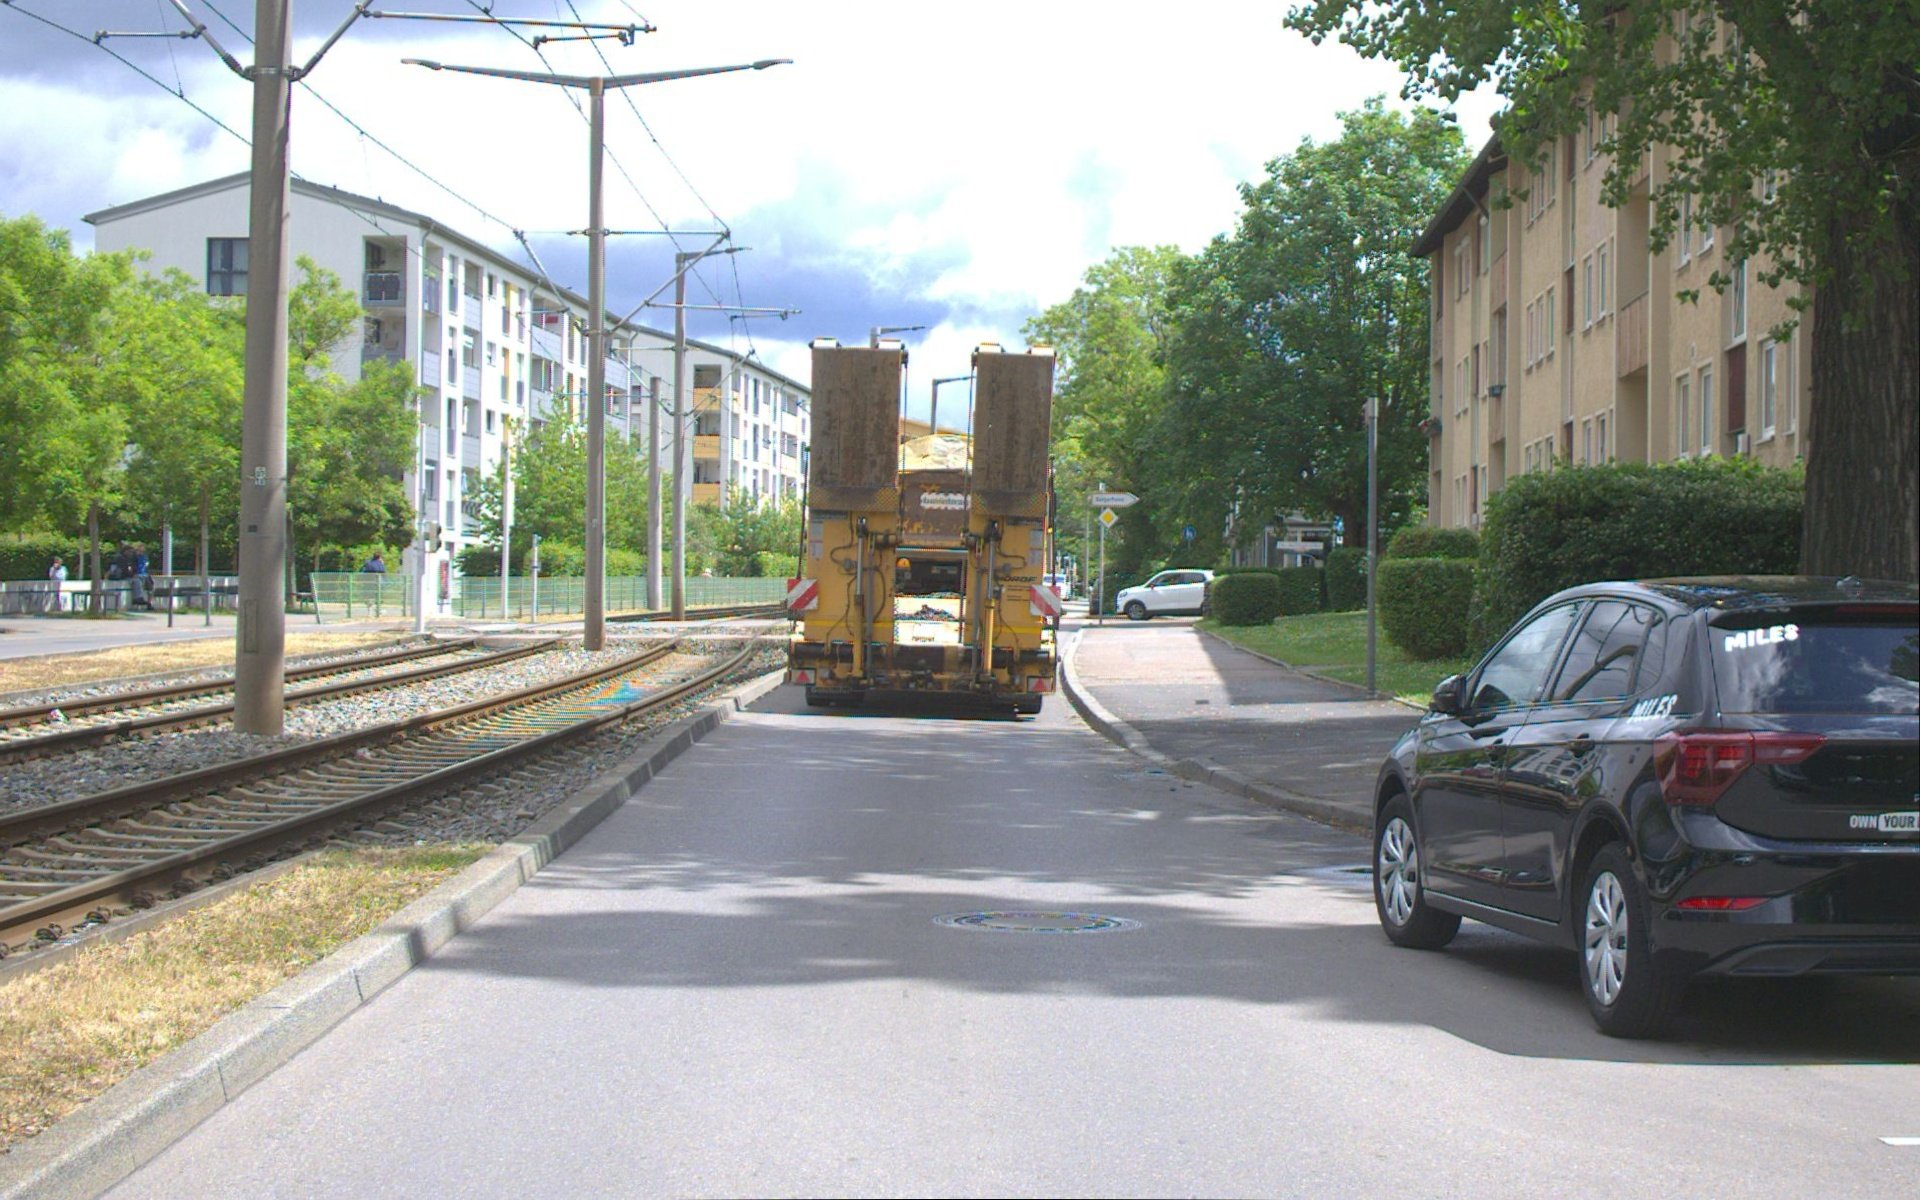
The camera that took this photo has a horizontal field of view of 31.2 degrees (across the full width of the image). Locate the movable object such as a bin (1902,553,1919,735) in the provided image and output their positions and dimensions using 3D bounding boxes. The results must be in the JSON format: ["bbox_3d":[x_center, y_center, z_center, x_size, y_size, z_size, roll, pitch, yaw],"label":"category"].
[{"bbox_3d":[8.152,0.342,27.343,1.098,1.434,0.761,-1,1,0],"label":"movable object such as a bin"}]

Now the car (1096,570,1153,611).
[{"bbox_3d":[6.004,-0.365,125.662,1.993,1.382,4.000,0,2,2],"label":"car"}]

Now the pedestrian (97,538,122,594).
[{"bbox_3d":[-19.566,-0.790,79.078,0.499,1.262,0.500,-1,1,-21],"label":"pedestrian"}]

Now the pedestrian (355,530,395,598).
[{"bbox_3d":[-14.422,-0.900,84.742,0.749,1.656,0.869,0,1,6],"label":"pedestrian"}]

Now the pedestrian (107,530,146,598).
[{"bbox_3d":[-19.446,-0.838,80.235,0.623,1.567,0.697,0,1,13],"label":"pedestrian"}]

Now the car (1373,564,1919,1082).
[{"bbox_3d":[2.645,0.637,12.032,1.815,1.444,3.827,-1,2,-2],"label":"car"}]

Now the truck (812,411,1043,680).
[{"bbox_3d":[-0.416,-0.790,46.755,2.833,3.319,7.985,-1,2,0],"label":"truck"}]

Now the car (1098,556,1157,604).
[{"bbox_3d":[5.882,-0.714,121.142,1.993,1.612,4.000,0,2,2],"label":"car"}]

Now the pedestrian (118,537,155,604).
[{"bbox_3d":[-19.441,-0.705,81.167,0.623,1.567,0.557,0,1,13],"label":"pedestrian"}]

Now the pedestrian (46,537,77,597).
[{"bbox_3d":[-23.152,-0.849,88.616,0.545,1.542,0.528,0,1,23],"label":"pedestrian"}]

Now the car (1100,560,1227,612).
[{"bbox_3d":[6.323,-0.428,106.608,3.600,1.579,1.999,0,0,14],"label":"car"}]

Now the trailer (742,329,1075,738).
[{"bbox_3d":[-0.497,-0.771,37.659,3.050,3.759,11.613,-1,2,0],"label":"trailer"}]
